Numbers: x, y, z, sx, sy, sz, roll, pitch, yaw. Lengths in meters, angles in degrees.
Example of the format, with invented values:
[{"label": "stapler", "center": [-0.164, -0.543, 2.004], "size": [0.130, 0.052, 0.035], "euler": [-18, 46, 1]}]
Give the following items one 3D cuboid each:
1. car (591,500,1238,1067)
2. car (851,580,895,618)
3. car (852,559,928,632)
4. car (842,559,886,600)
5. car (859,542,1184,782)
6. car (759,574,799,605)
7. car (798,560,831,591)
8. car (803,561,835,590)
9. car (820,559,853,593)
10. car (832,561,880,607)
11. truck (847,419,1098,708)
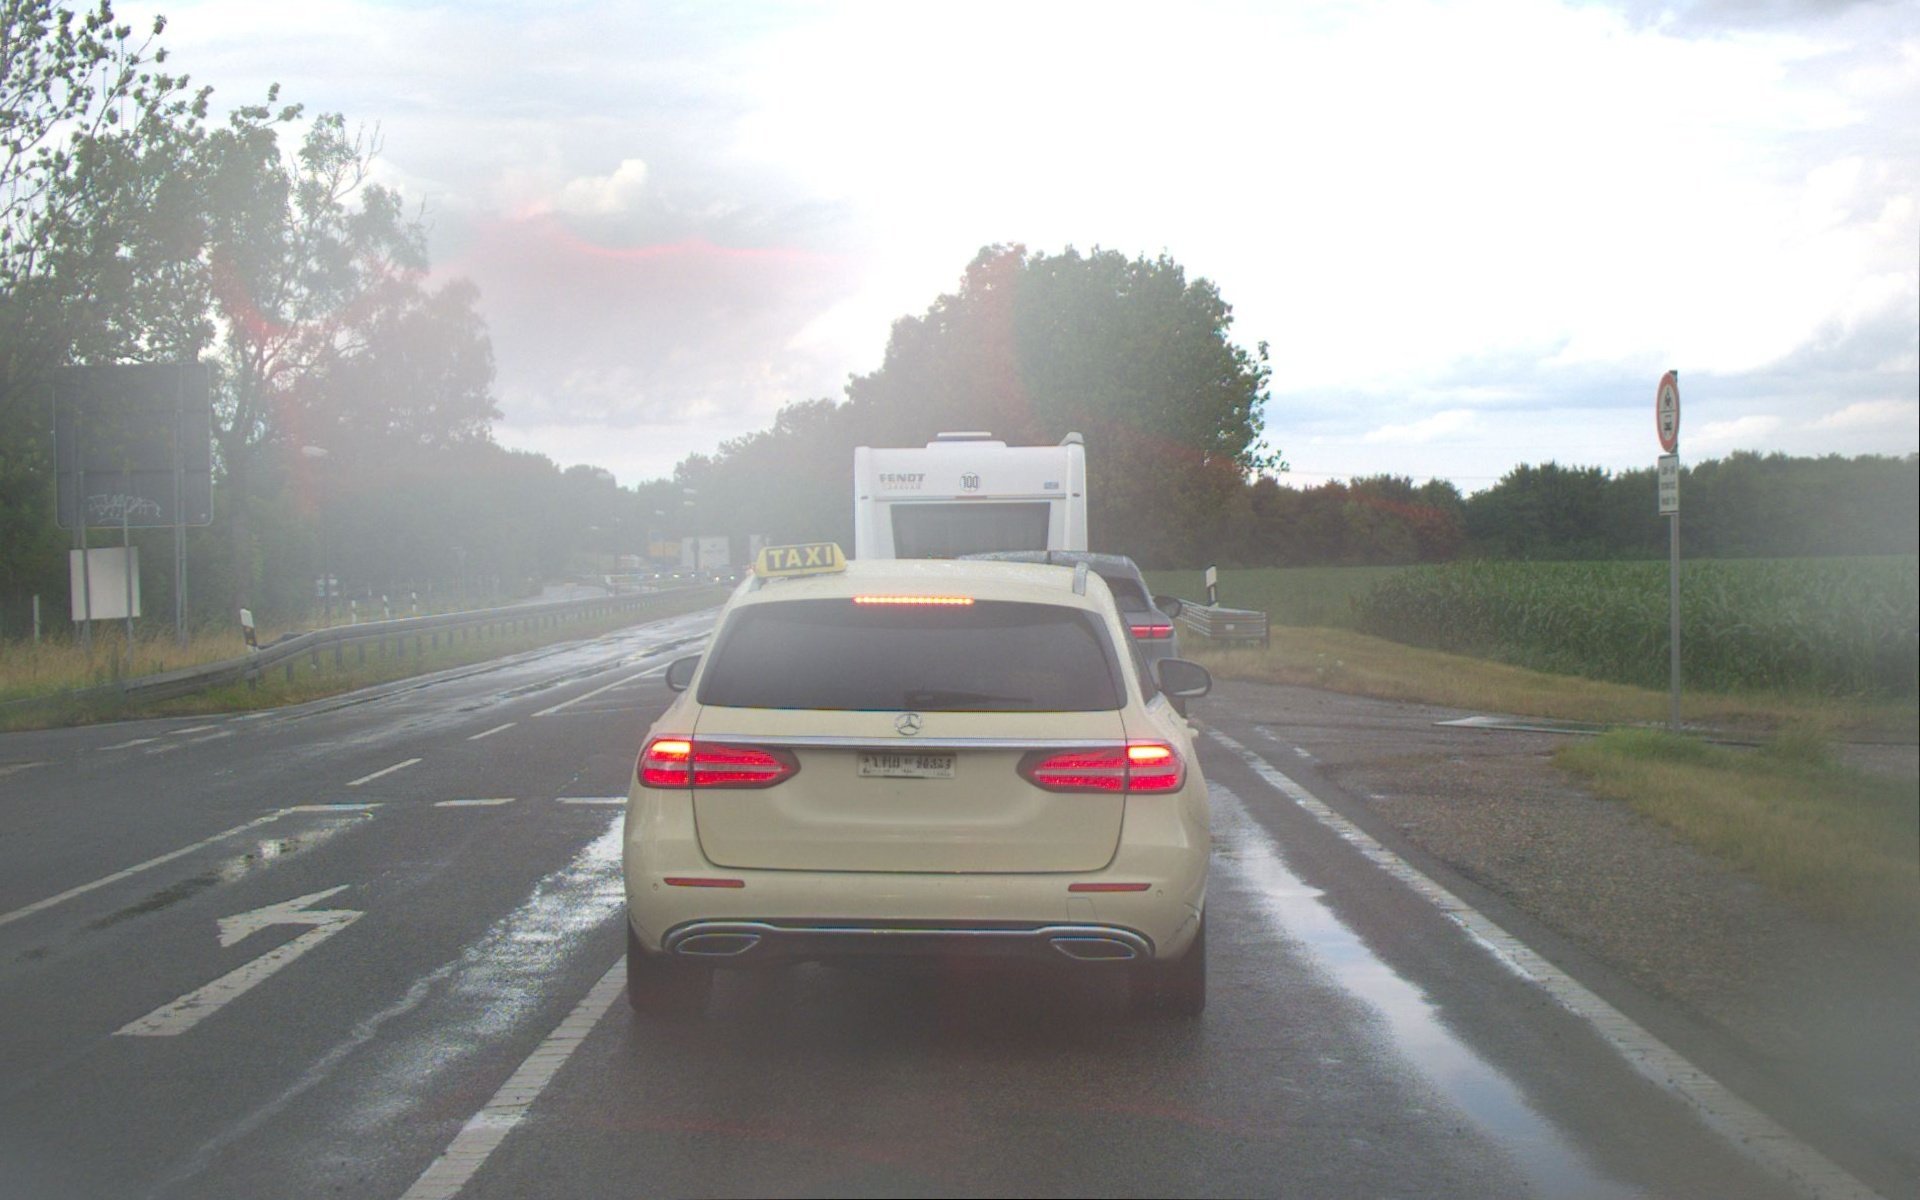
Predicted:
[{"label": "car", "center": [-0.152, 0.506, 11.831], "size": [1.842, 1.612, 4.000], "euler": [0, 1, -1]}, {"label": "car", "center": [-4.151, -0.061, 163.520], "size": [1.993, 1.766, 4.001], "euler": [-1, 1, -3]}, {"label": "car", "center": [-1.828, -0.131, 90.174], "size": [1.915, 1.834, 3.796], "euler": [-1, 1, -1]}, {"label": "car", "center": [-4.248, -0.936, 152.338], "size": [1.879, 1.755, 3.834], "euler": [-1, 1, -1]}, {"label": "car", "center": [0.359, 0.370, 23.360], "size": [1.993, 1.457, 4.000], "euler": [1, 0, -1]}, {"label": "car", "center": [-9.301, -0.539, 177.112], "size": [1.828, 1.568, 4.000], "euler": [1, 0, 0]}, {"label": "car", "center": [-9.050, -1.537, 213.431], "size": [1.895, 1.888, 3.844], "euler": [-1, 1, -4]}, {"label": "car", "center": [-8.378, -1.455, 203.651], "size": [1.748, 1.656, 3.673], "euler": [-1, 1, -4]}, {"label": "car", "center": [-6.801, -1.339, 189.522], "size": [1.740, 1.853, 3.785], "euler": [-1, 1, -1]}, {"label": "car", "center": [-4.074, -0.642, 135.070], "size": [1.791, 1.771, 3.721], "euler": [-1, 1, -1]}, {"label": "truck", "center": [0.083, -0.400, 36.699], "size": [2.363, 2.719, 7.314], "euler": [-1, 1, -1]}]
